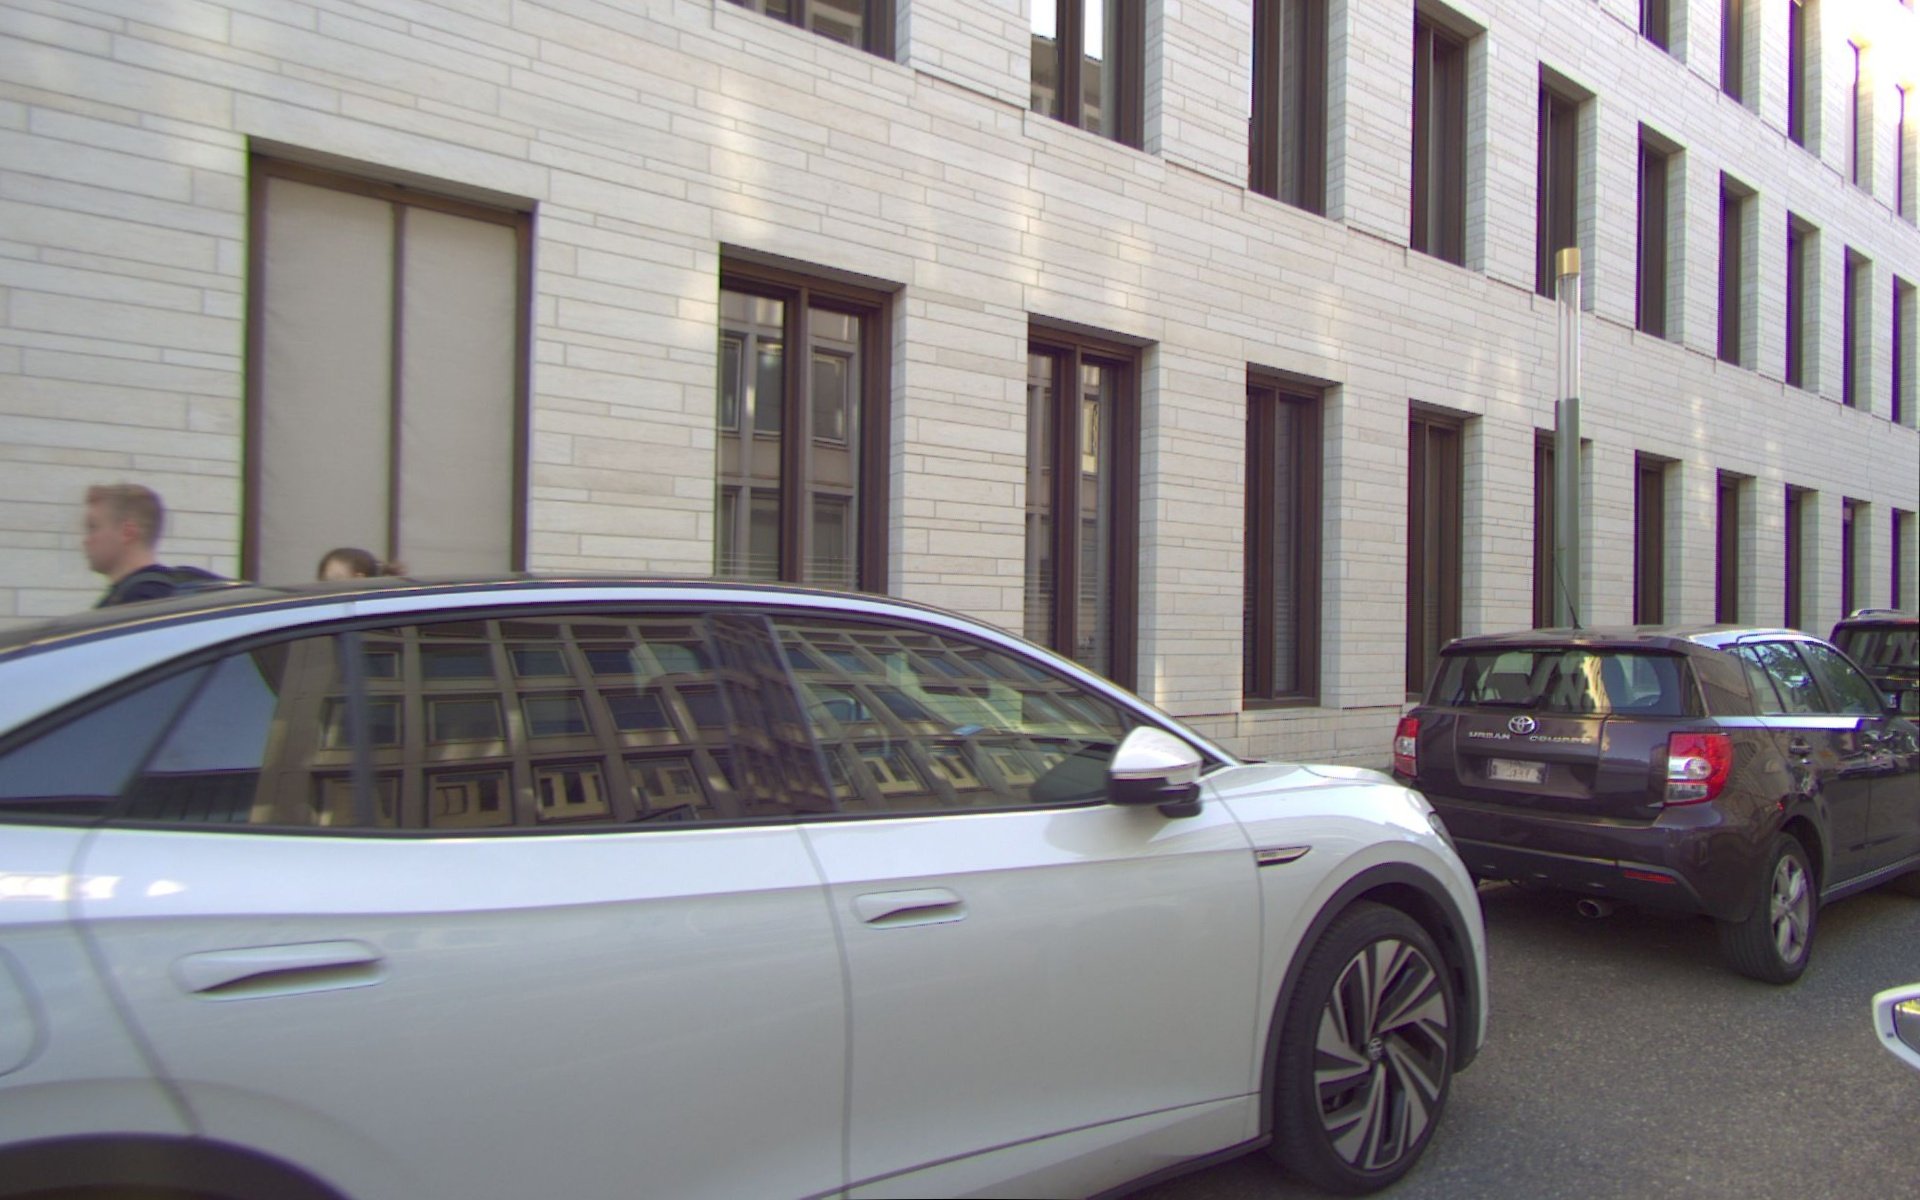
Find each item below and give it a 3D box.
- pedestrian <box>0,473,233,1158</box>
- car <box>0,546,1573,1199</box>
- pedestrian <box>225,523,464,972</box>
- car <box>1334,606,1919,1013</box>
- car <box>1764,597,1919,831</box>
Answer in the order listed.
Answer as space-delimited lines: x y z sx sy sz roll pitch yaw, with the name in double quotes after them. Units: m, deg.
-2.593 0.578 3.004 0.569 1.813 0.638 2 -1 -32 "pedestrian"
-0.515 0.720 2.604 4.397 1.562 1.812 1 1 -32 "car"
-2.760 0.608 4.550 0.808 1.813 0.640 2 -1 -32 "pedestrian"
4.250 0.850 5.798 4.218 1.562 1.812 1 -1 -34 "car"
8.788 0.880 8.593 3.975 1.737 1.812 1 -3 -33 "car"
